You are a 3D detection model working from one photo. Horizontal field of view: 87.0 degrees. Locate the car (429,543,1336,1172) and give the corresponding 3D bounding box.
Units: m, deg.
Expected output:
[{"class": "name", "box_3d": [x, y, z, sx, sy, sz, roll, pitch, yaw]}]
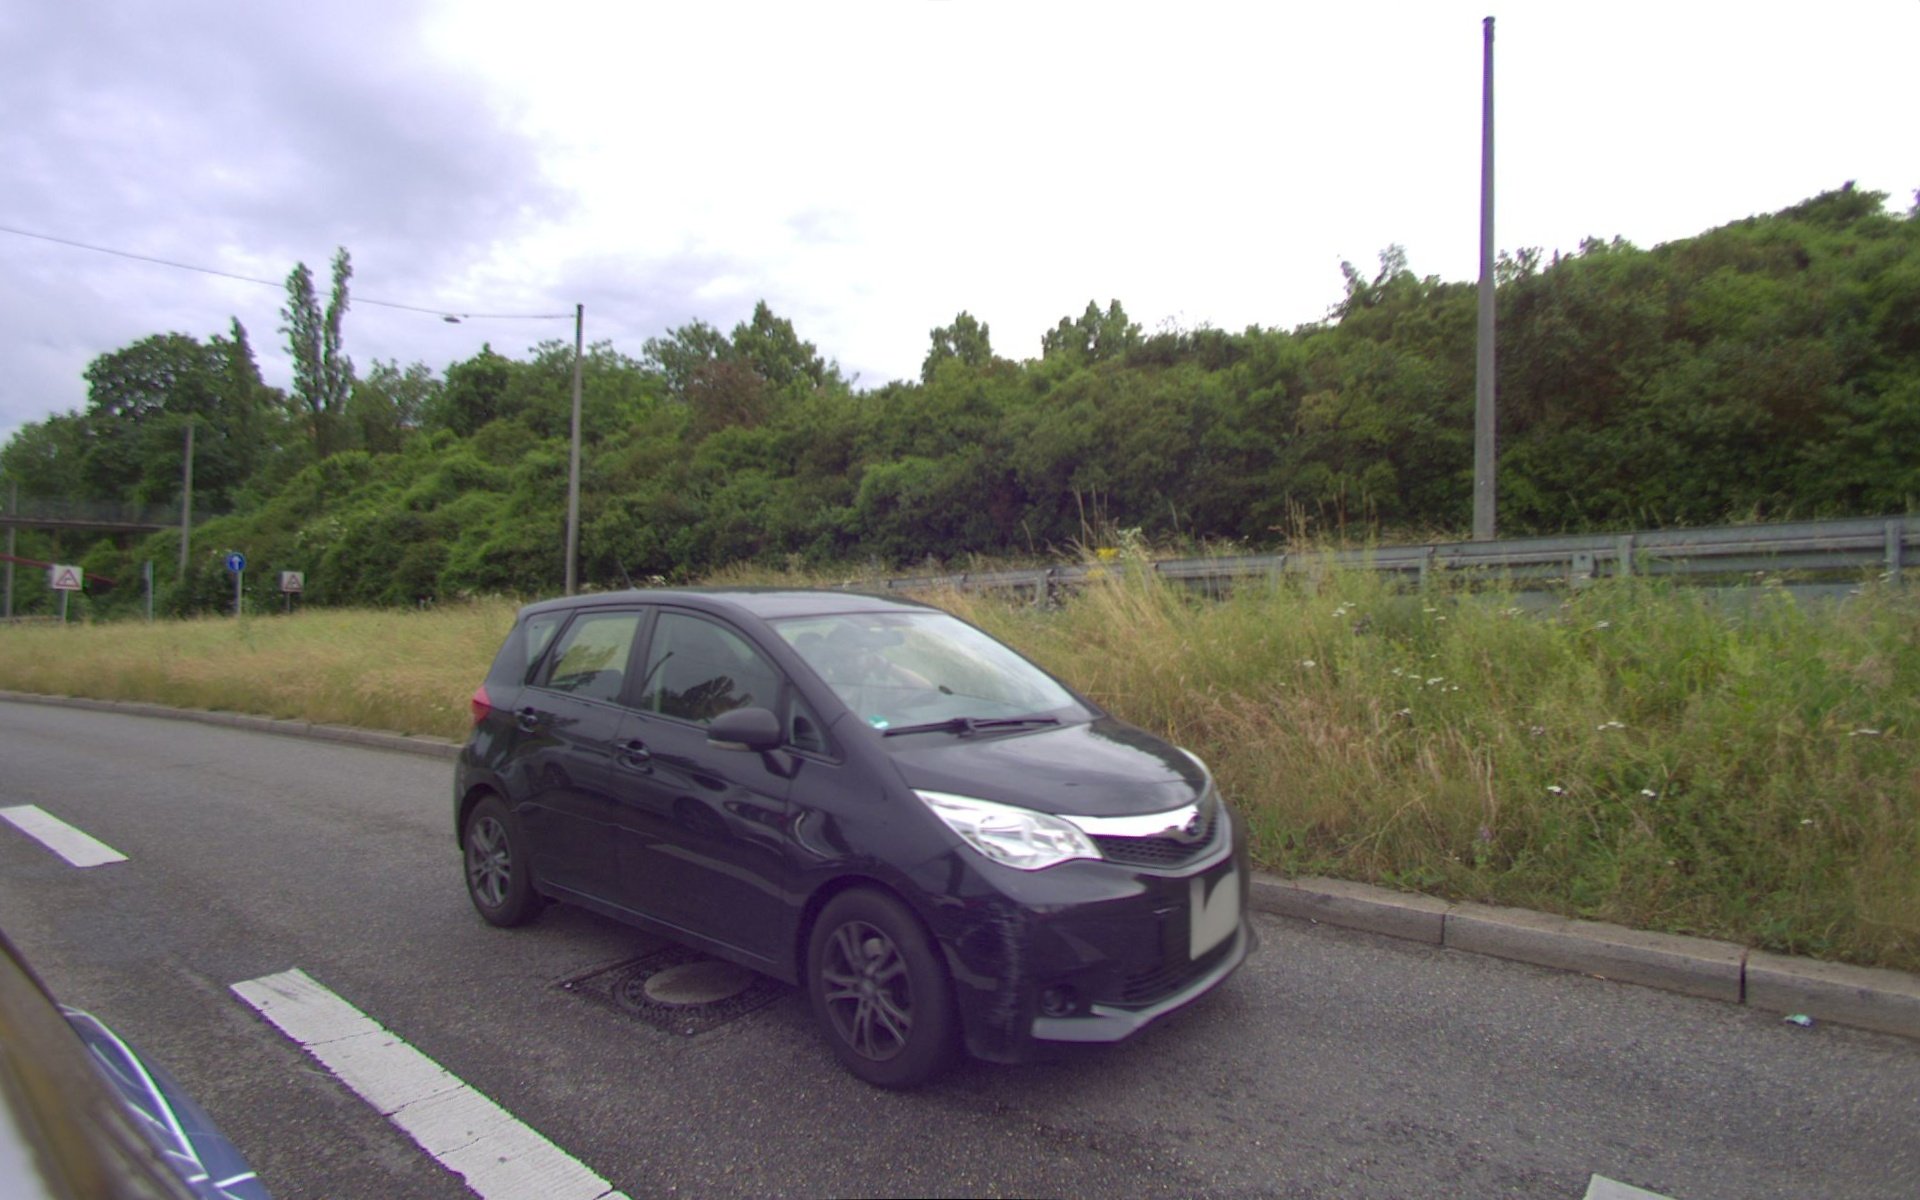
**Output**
[{"class": "car", "box_3d": [-0.601, 0.652, 4.298, 3.776, 1.516, 1.625, -2, 0, 40]}]
